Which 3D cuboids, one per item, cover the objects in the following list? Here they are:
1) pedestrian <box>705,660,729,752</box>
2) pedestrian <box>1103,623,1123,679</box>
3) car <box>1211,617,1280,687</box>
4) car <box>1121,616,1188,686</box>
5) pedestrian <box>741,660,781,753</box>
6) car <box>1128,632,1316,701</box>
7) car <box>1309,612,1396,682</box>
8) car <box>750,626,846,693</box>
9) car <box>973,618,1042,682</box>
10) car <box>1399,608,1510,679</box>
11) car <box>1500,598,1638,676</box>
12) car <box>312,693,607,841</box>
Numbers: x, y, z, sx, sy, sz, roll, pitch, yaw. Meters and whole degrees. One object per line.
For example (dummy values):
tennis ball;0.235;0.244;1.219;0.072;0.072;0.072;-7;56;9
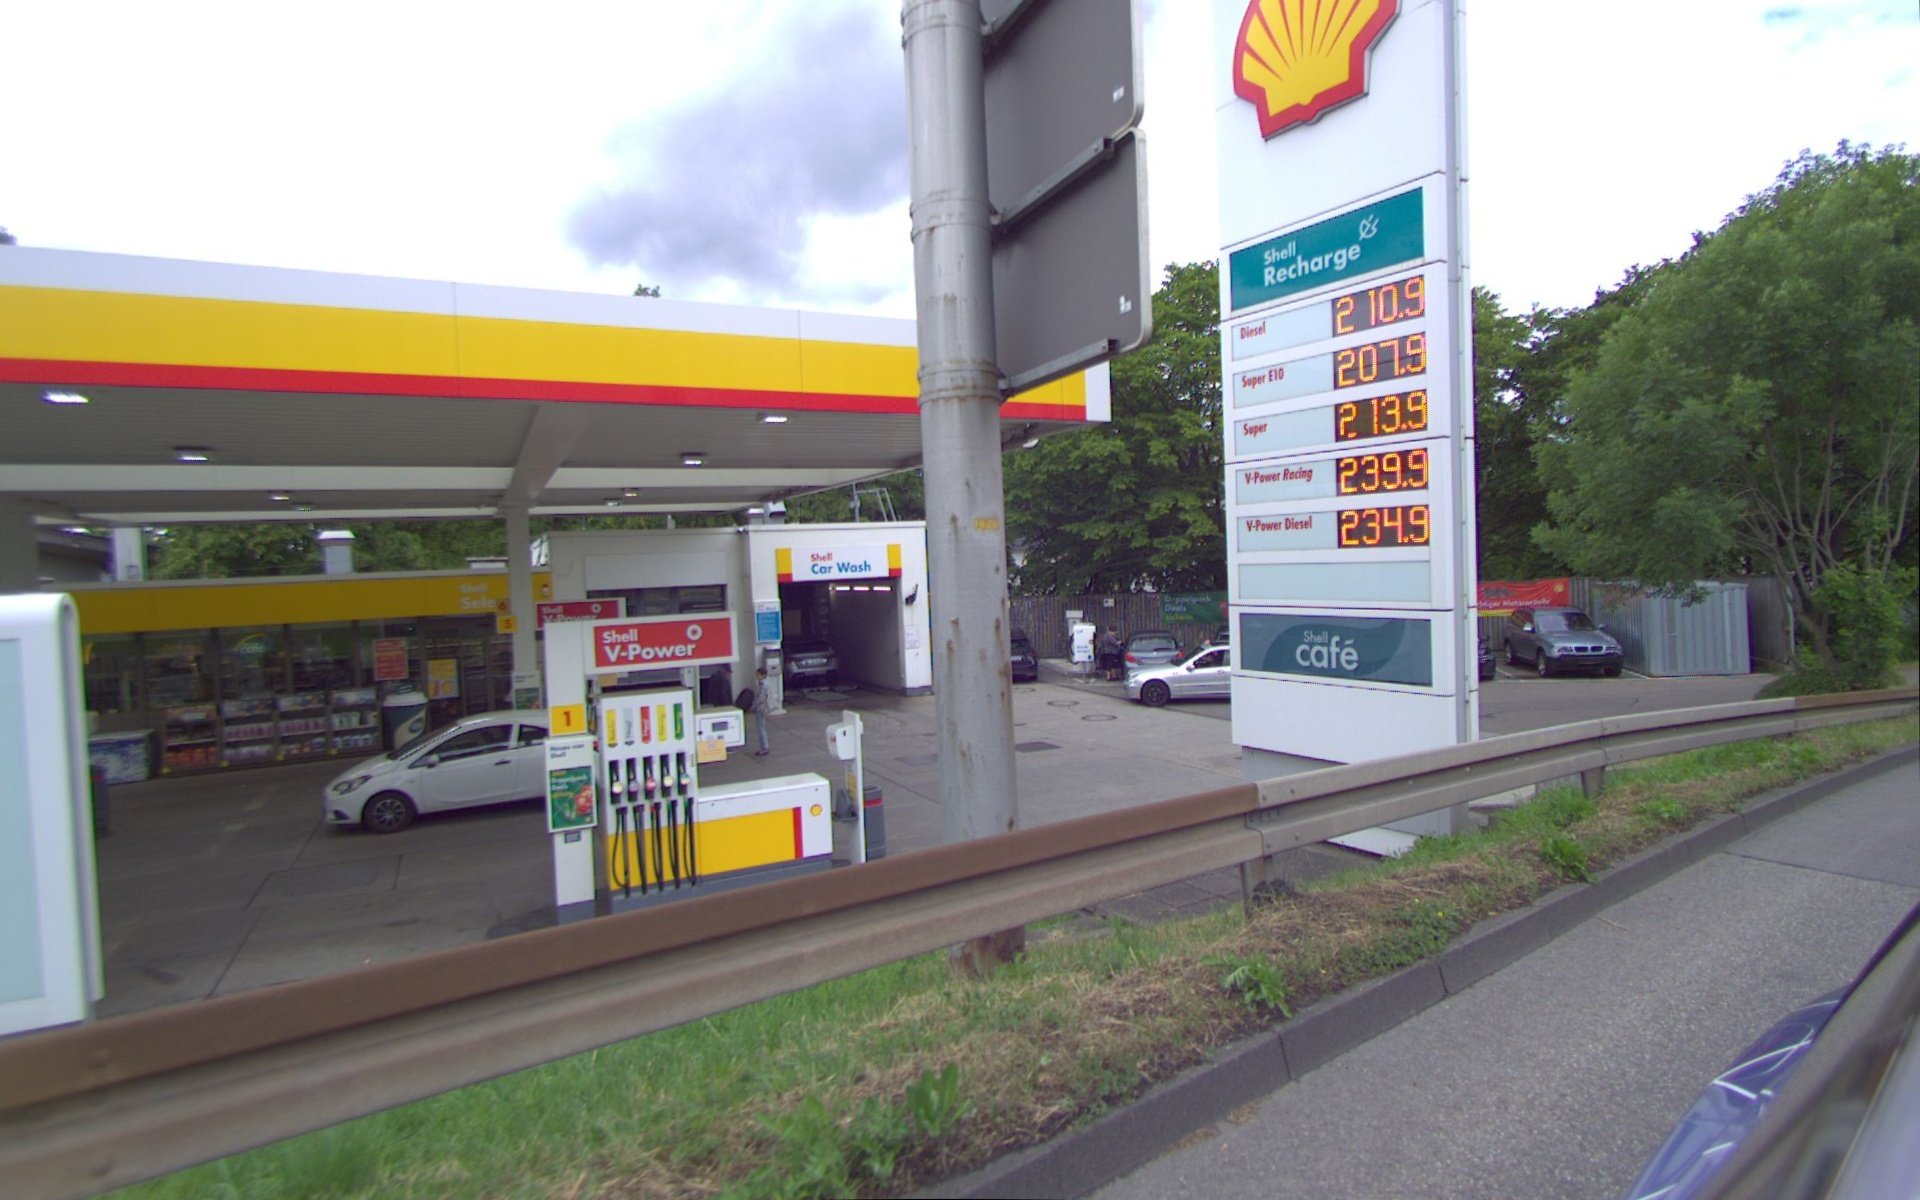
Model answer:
pedestrian;-4.745;2.054;19.744;0.423;1.726;0.494;0;0;-17
pedestrian;4.317;1.432;28.508;0.462;1.559;0.429;-3;-3;12
car;7.900;1.379;28.239;1.710;1.453;4.201;0;3;15
car;5.556;1.378;28.614;1.605;1.538;4.084;0;3;15
pedestrian;-3.853;2.043;19.596;0.597;1.726;0.544;0;0;-31
car;6.258;1.590;24.529;4.221;1.449;1.599;-1;3;8
car;10.819;1.238;28.166;1.710;1.453;4.276;-3;2;15
car;-4.792;1.650;29.450;1.706;1.504;3.885;-3;3;-25
car;1.357;1.433;30.161;1.690;1.453;4.110;-1;3;-2
car;13.222;1.107;27.317;1.709;1.444;4.278;-3;2;14
car;15.990;0.904;26.830;1.708;1.610;4.282;-3;2;11
car;-7.528;2.453;15.550;3.798;1.504;1.745;-3;3;-24
